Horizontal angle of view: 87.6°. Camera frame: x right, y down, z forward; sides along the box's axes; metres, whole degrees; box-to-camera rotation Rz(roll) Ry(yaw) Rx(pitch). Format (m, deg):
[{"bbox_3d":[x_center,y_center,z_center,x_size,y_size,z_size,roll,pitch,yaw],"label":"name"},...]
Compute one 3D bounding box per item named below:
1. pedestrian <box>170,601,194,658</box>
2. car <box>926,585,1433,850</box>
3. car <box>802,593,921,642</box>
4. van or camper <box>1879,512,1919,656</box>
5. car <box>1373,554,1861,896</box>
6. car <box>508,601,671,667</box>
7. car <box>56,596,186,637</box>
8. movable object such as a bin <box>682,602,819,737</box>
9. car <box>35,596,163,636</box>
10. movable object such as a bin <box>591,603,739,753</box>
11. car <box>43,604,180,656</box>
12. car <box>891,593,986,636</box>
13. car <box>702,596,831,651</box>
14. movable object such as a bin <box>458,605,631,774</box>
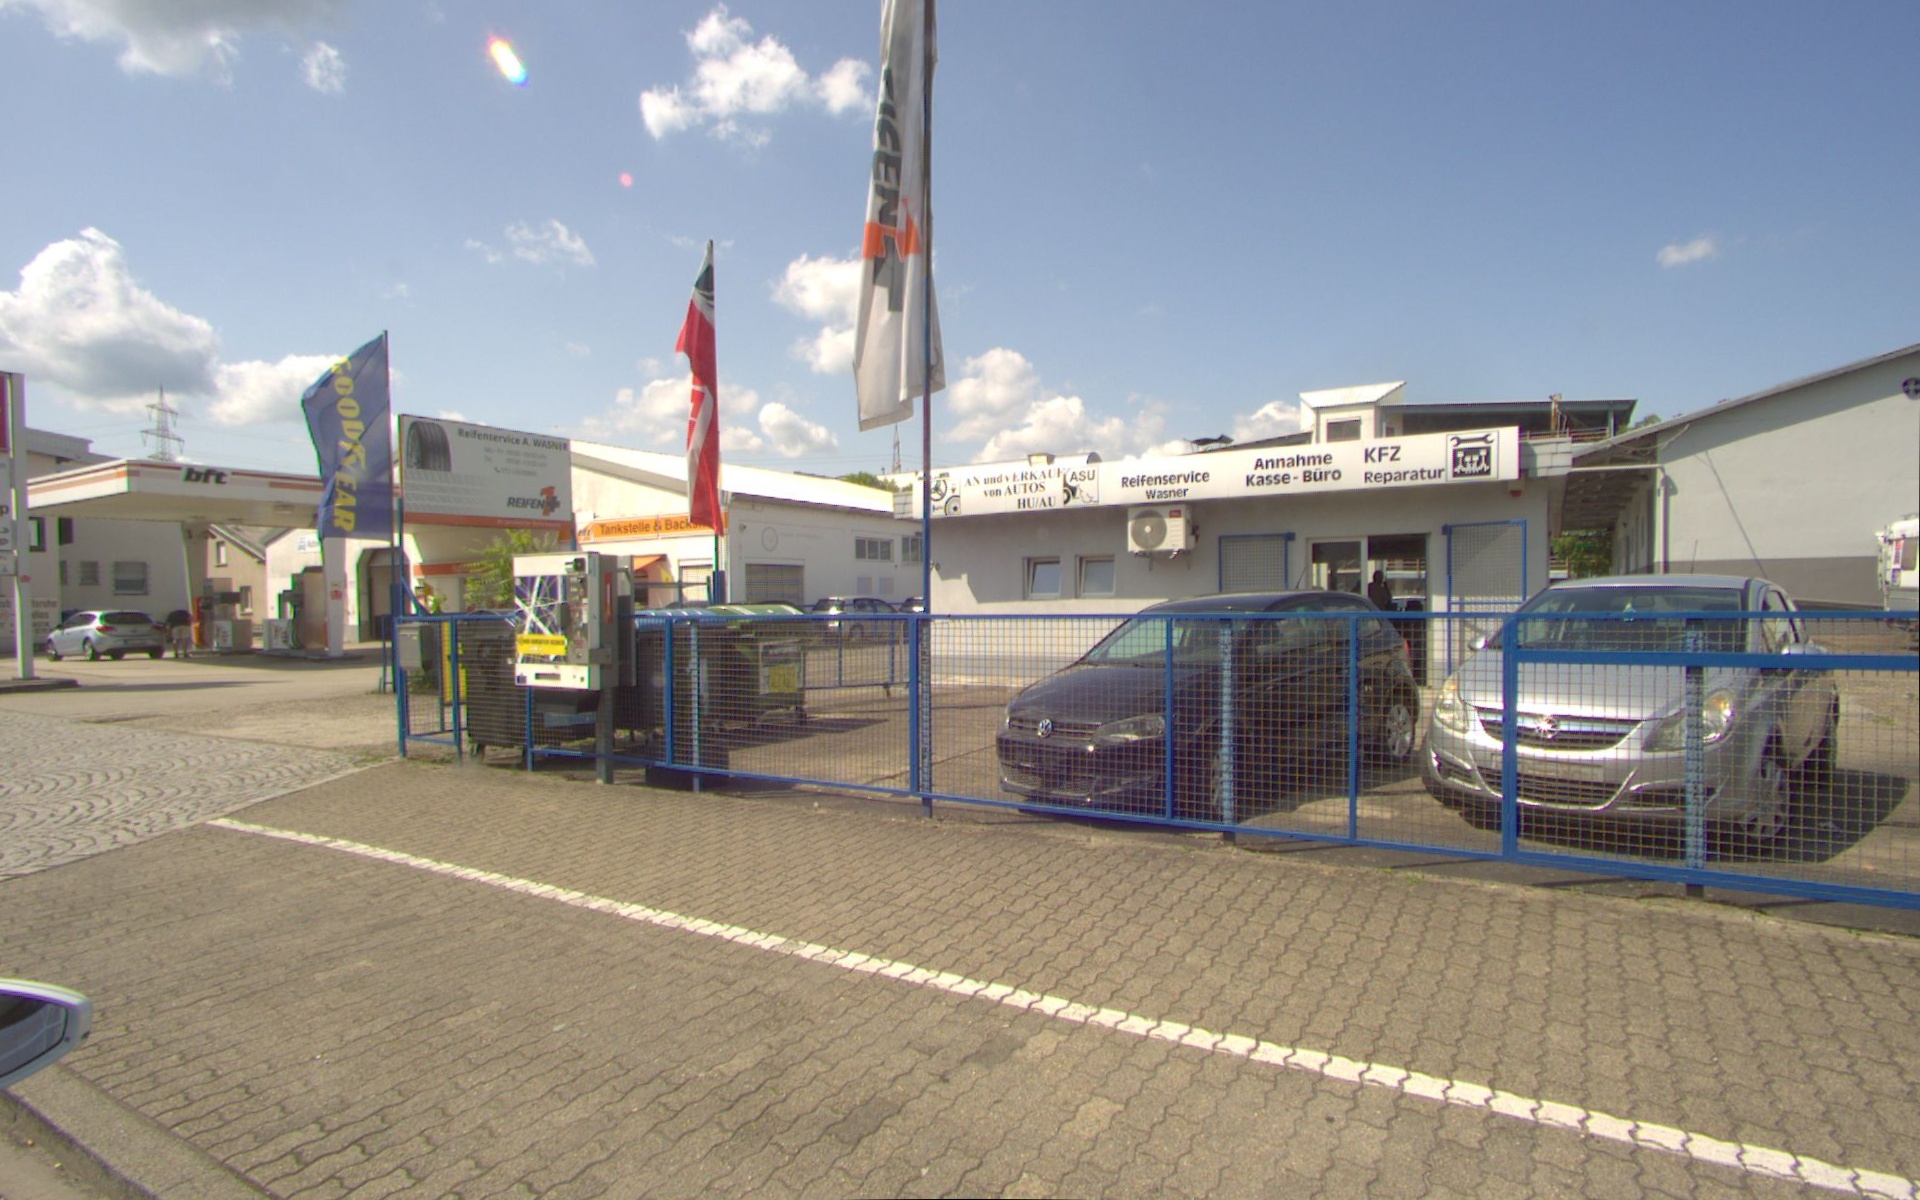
[{"bbox_3d":[-23.857,0.908,30.722,0.479,1.711,0.395,-1,1,34],"label":"pedestrian"},{"bbox_3d":[1.817,0.650,7.529,3.955,1.462,1.696,-1,0,-41],"label":"car"},{"bbox_3d":[-3.077,0.536,31.909,1.590,1.406,3.998,-1,1,33],"label":"car"},{"bbox_3d":[21.404,-0.387,19.323,4.986,2.810,2.304,-1,1,29],"label":"van or camper"},{"bbox_3d":[4.388,0.543,6.423,3.958,1.516,1.734,-1,0,-43],"label":"car"},{"bbox_3d":[-8.690,0.749,23.679,1.589,1.379,3.312,-1,1,32],"label":"car"},{"bbox_3d":[-37.081,0.699,44.334,1.937,1.671,3.979,-1,1,31],"label":"car"},{"bbox_3d":[-2.443,0.773,11.807,0.939,1.463,1.320,-1,1,25],"label":"movable object such as a bin"},{"bbox_3d":[-39.201,0.711,45.676,1.937,1.671,3.979,-1,1,31],"label":"car"},{"bbox_3d":[-3.120,0.785,10.668,0.812,1.463,1.253,-1,1,32],"label":"movable object such as a bin"},{"bbox_3d":[-25.842,0.913,30.479,3.941,1.439,1.956,-1,1,30],"label":"car"},{"bbox_3d":[-0.709,0.506,35.681,1.590,1.406,3.652,-1,1,33],"label":"car"},{"bbox_3d":[-5.343,0.634,27.996,1.589,1.379,3.488,-1,1,32],"label":"car"},{"bbox_3d":[-3.936,0.799,9.559,0.812,1.463,1.253,-1,1,32],"label":"movable object such as a bin"}]
